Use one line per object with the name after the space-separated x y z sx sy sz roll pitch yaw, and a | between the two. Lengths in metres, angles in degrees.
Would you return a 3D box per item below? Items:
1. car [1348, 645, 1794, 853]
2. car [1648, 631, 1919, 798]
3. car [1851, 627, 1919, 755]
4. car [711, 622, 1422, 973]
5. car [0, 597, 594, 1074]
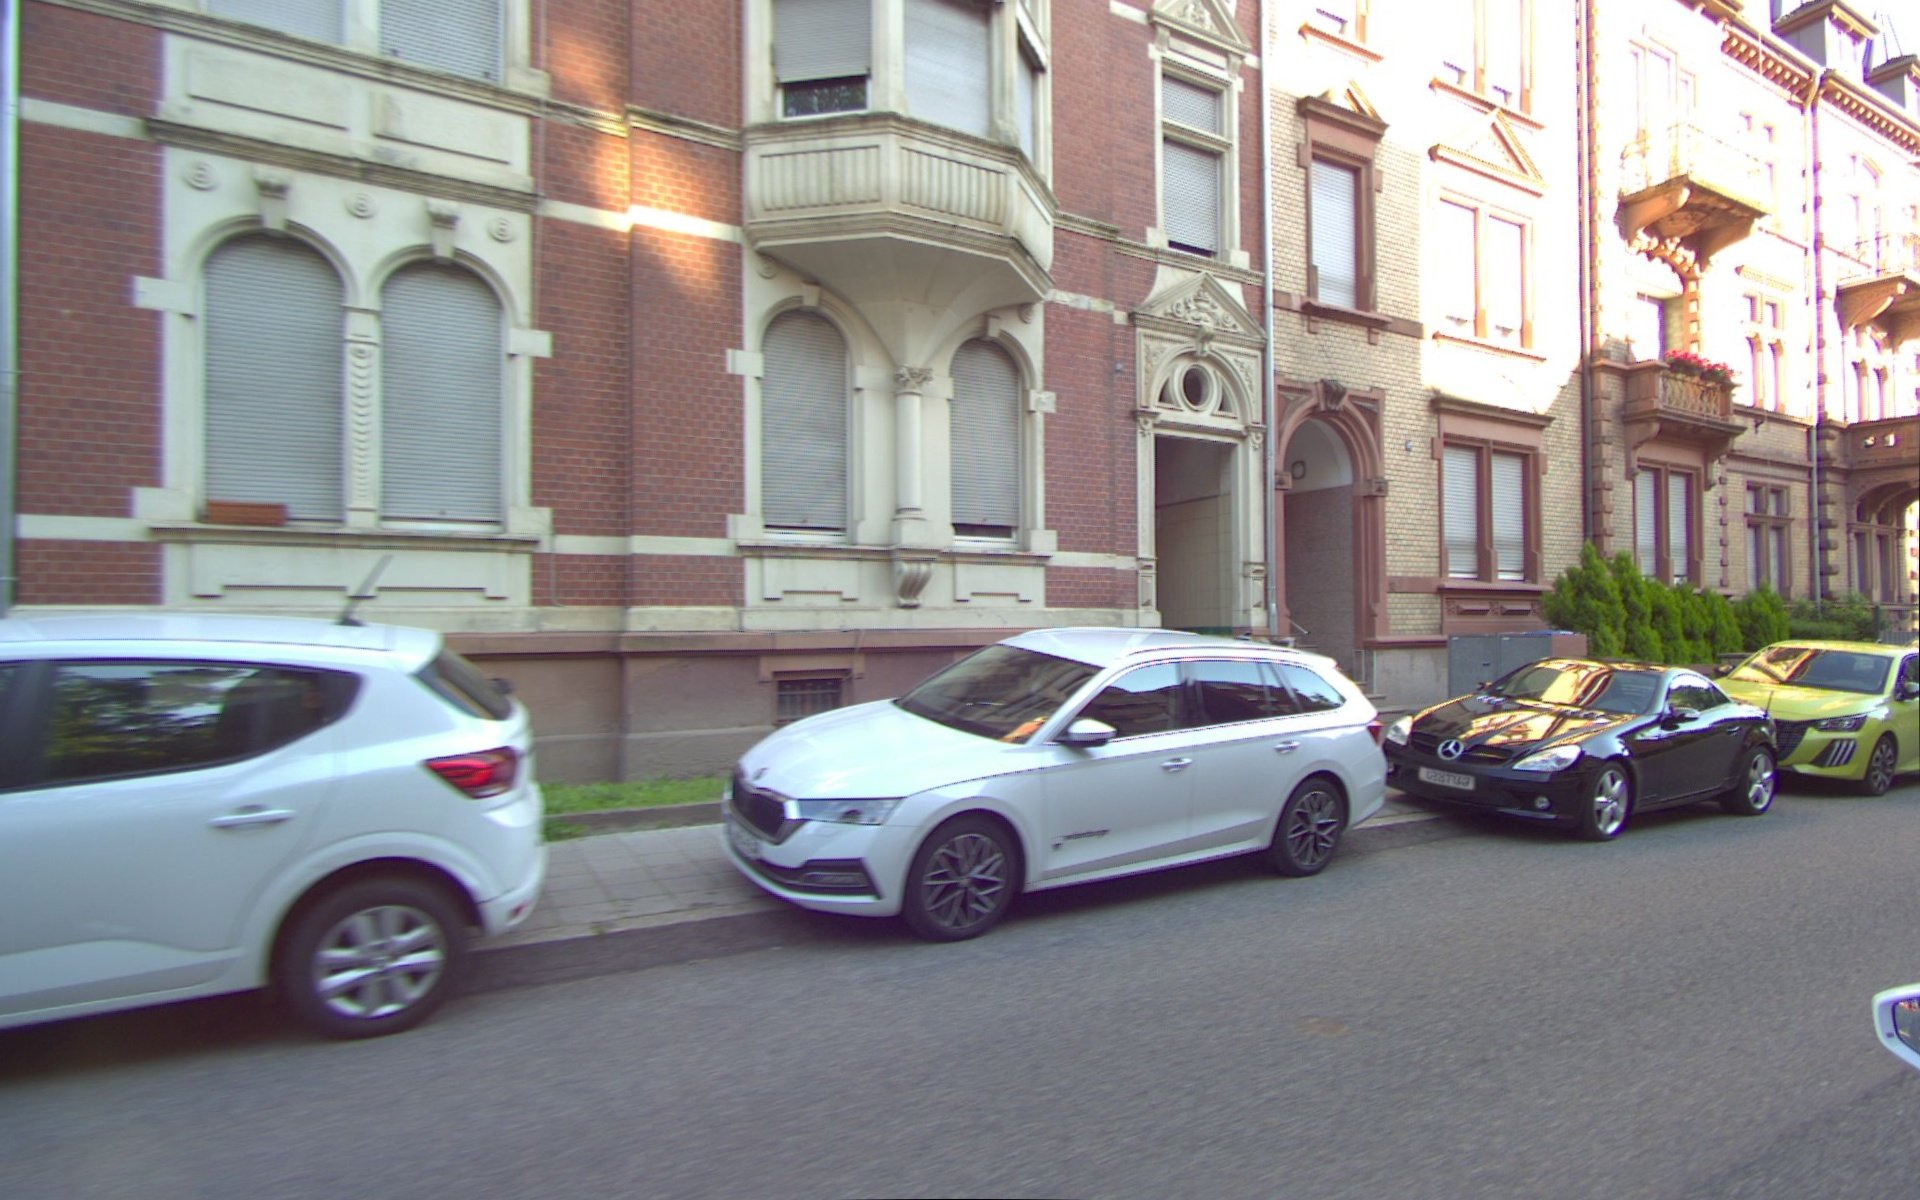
5.375 1.125 8.759 3.813 1.385 1.695 1 -1 -29 | car
9.589 1.167 11.103 4.024 1.522 1.695 3 -2 -30 | car
13.717 1.177 13.427 3.592 1.605 1.694 1 -1 -31 | car
0.862 0.940 6.464 4.499 1.557 1.693 1 -1 -33 | car
-3.631 0.755 3.867 3.971 1.523 1.695 1 -1 -29 | car
